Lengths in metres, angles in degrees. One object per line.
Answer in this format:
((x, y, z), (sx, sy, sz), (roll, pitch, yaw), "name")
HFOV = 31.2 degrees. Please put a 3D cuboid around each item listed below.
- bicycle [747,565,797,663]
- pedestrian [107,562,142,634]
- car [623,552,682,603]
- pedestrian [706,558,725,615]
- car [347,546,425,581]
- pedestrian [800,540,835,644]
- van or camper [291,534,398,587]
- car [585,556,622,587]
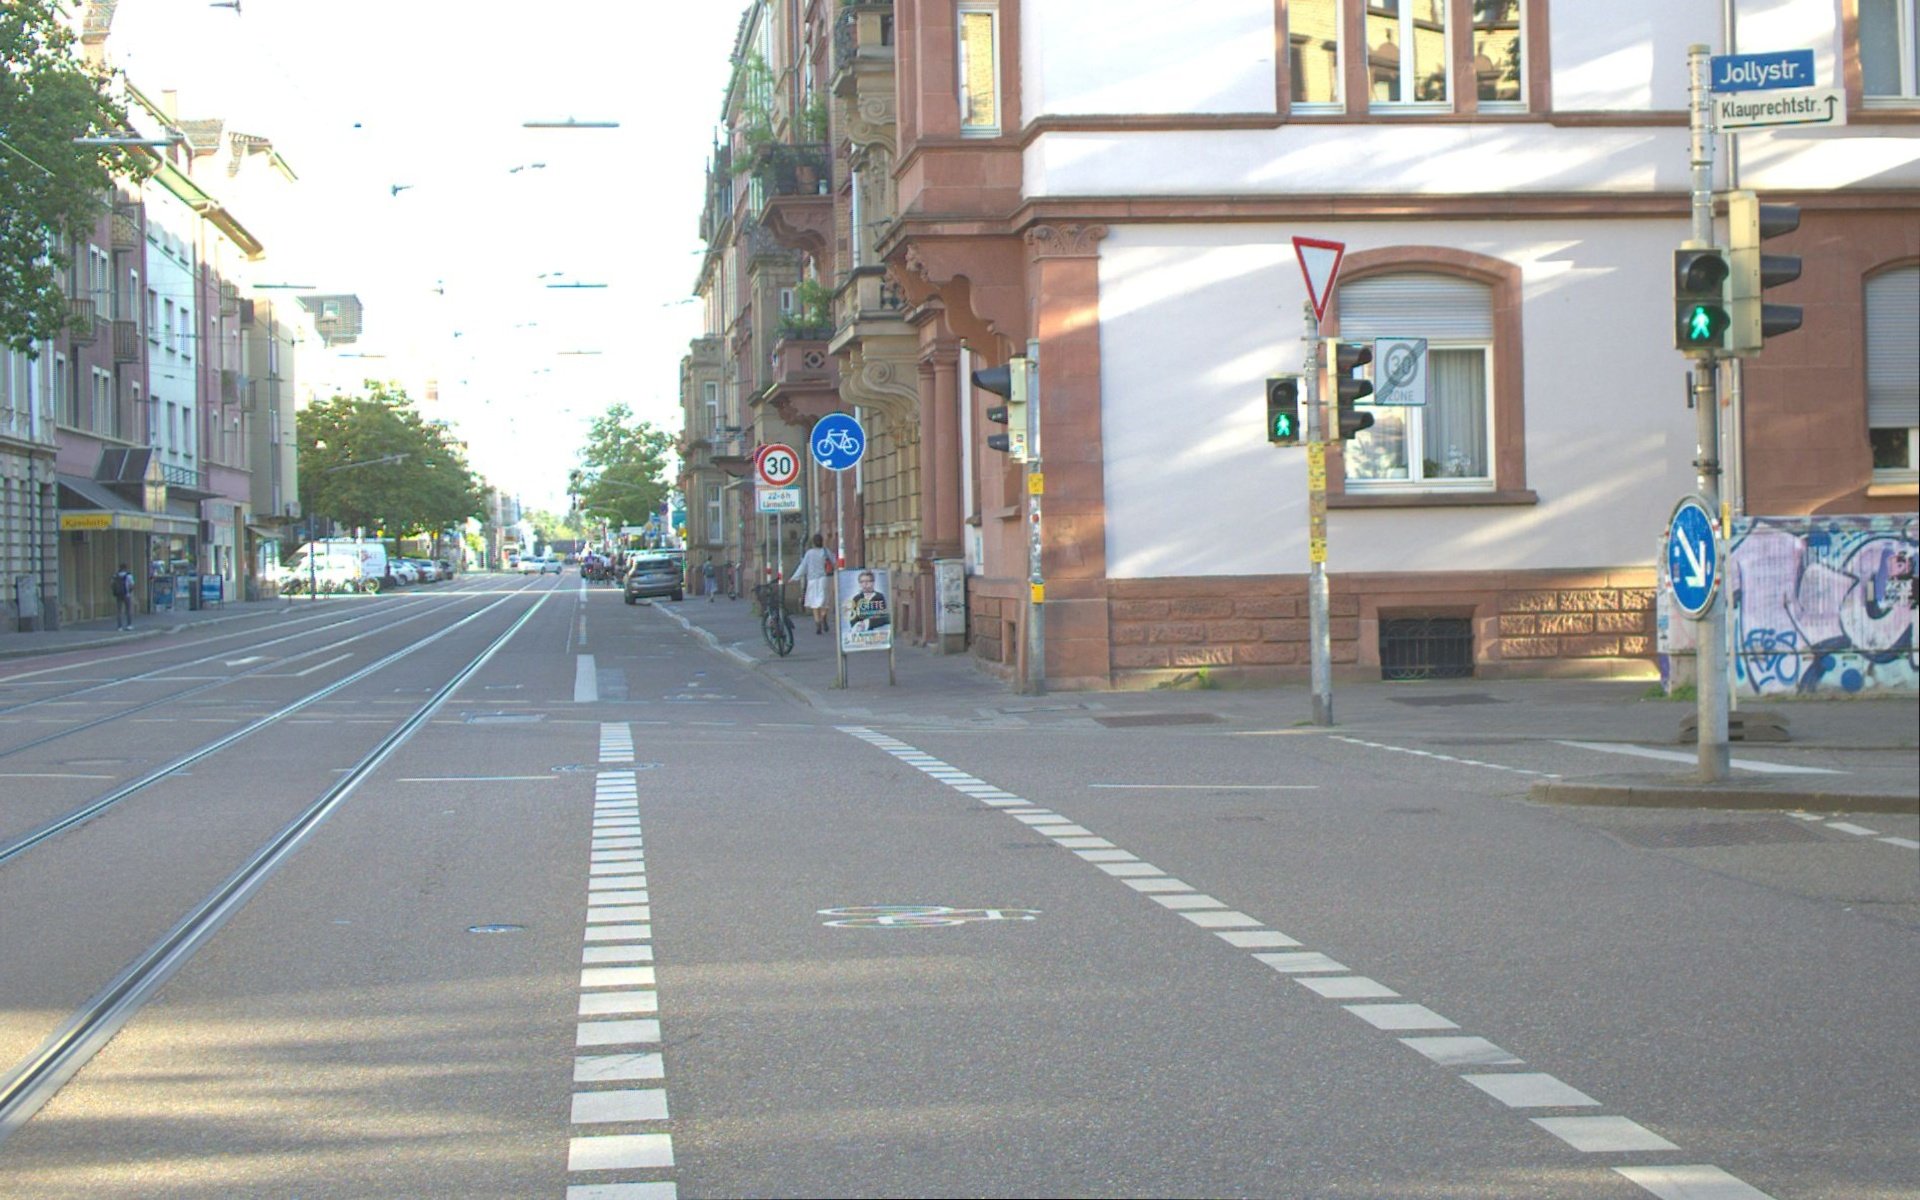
((-2.643, 0.182, 48.131), (0.653, 1.319, 2.177), (-1, 1, -4), "bicycle")
((-20.256, -0.044, 83.354), (0.701, 1.722, 0.648), (-1, 1, -6), "pedestrian")
((-10.462, -0.773, 117.061), (1.950, 1.678, 4.001), (-1, 1, -5), "car")
((-7.619, -0.416, 106.939), (0.544, 1.774, 0.749), (-1, 1, -5), "pedestrian")
((-33.487, -2.128, 200.602), (3.987, 2.007, 2.000), (-1, 1, -30), "car")
((-2.467, -0.146, 59.365), (0.544, 1.774, 0.504), (-1, 1, -5), "pedestrian")
((-29.646, -1.904, 165.696), (4.636, 2.554, 2.000), (-1, 0, -37), "van or camper")
((-19.912, -1.587, 191.767), (1.993, 1.722, 4.001), (-1, 0, -7), "car")
